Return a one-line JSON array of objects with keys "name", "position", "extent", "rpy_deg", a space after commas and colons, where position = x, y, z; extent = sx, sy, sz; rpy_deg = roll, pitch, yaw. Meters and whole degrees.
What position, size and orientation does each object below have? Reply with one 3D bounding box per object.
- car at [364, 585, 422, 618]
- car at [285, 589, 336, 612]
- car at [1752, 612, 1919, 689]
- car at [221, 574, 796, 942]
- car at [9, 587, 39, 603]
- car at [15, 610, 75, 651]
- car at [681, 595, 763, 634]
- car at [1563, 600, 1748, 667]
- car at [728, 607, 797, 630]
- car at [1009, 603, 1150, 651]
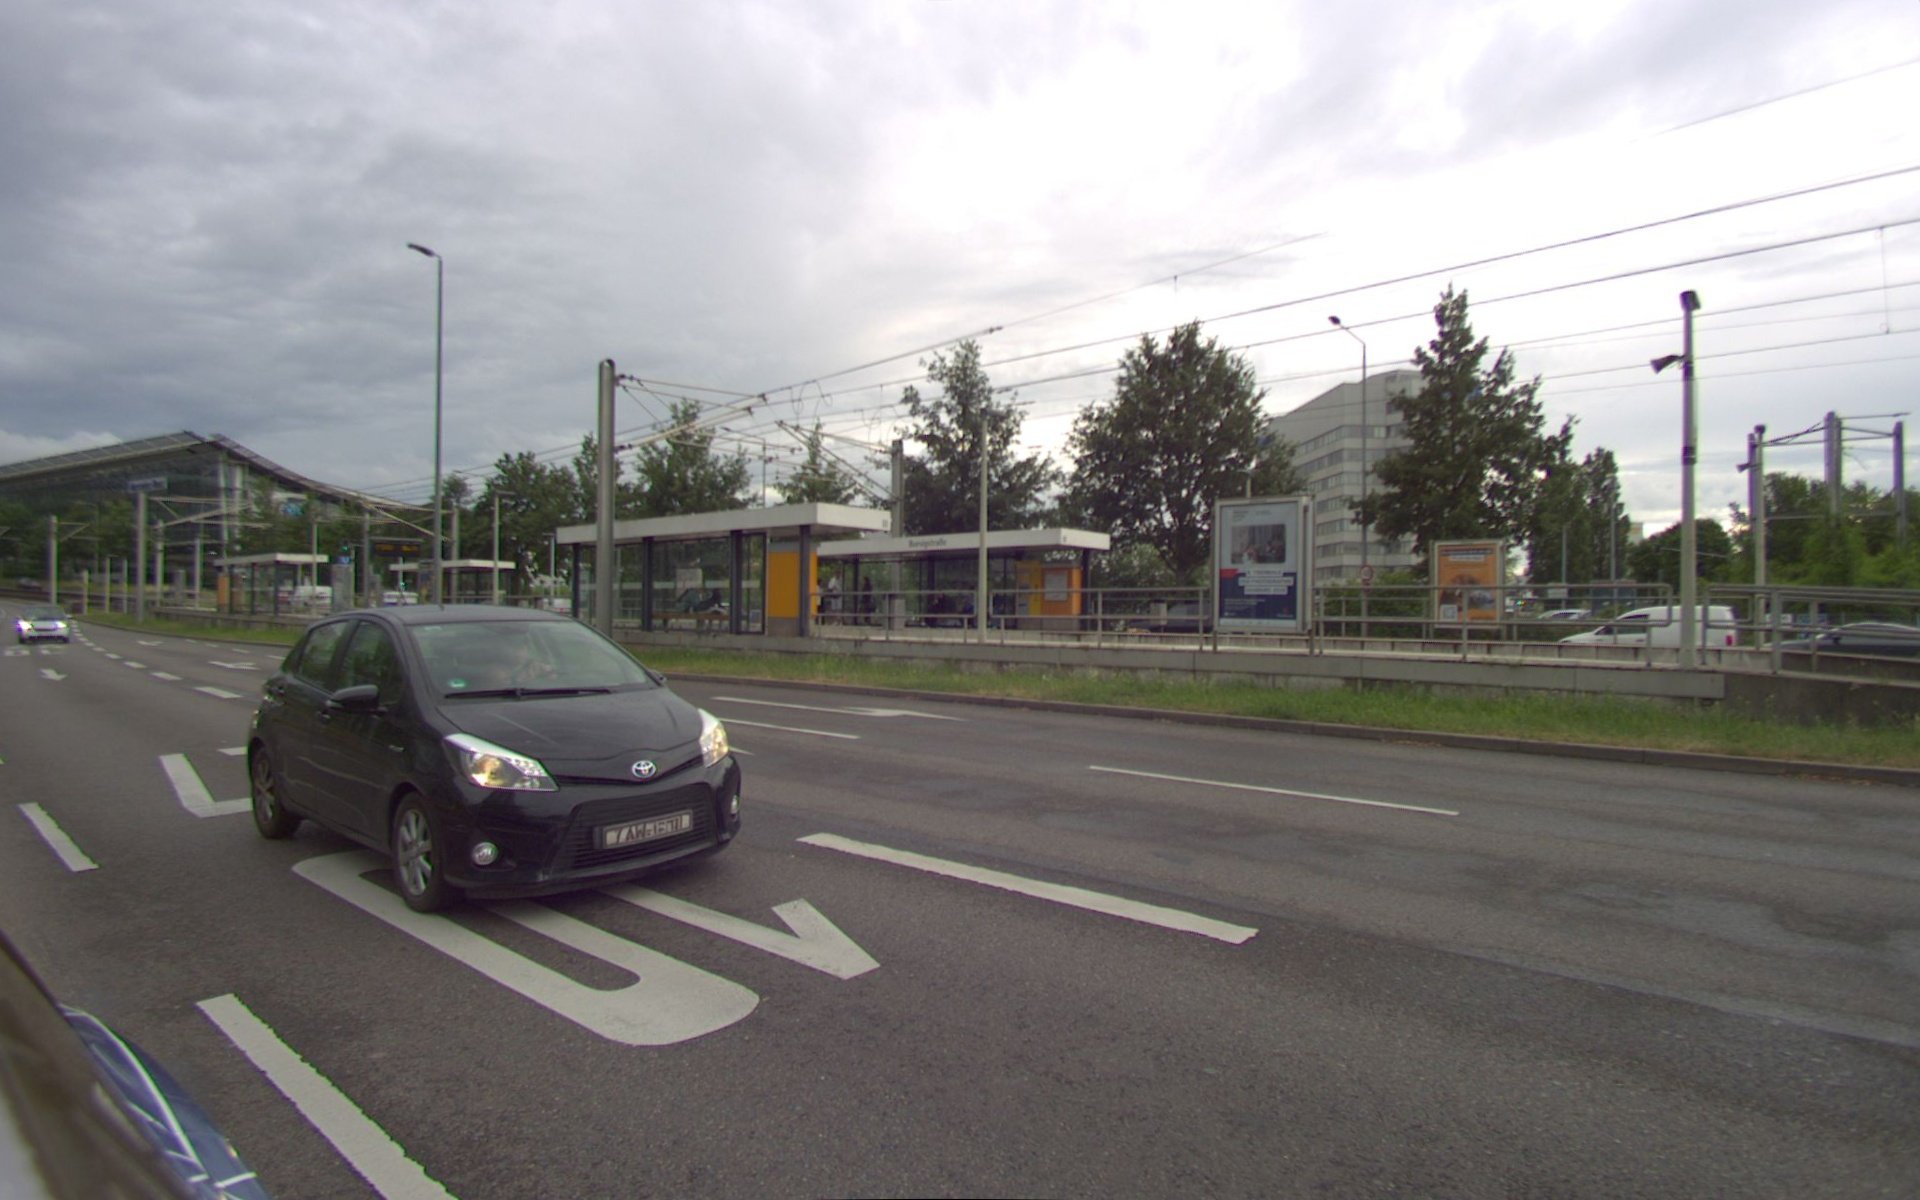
[{"name": "car", "position": [-40.112, 0.083, 71.559], "extent": [5.142, 2.231, 1.973], "rpy_deg": [1, 2, 42]}, {"name": "car", "position": [-52.131, -0.019, 81.199], "extent": [5.026, 1.744, 1.974], "rpy_deg": [1, 2, 40]}, {"name": "car", "position": [20.182, 1.089, 22.530], "extent": [3.996, 1.514, 1.769], "rpy_deg": [1, 2, 39]}, {"name": "car", "position": [-2.921, 0.700, 6.143], "extent": [3.902, 1.534, 1.675], "rpy_deg": [-2, -1, 41]}, {"name": "car", "position": [-111.905, -0.611, 120.966], "extent": [3.995, 1.861, 1.975], "rpy_deg": [1, 2, 38]}, {"name": "car", "position": [-36.889, 1.191, 40.836], "extent": [1.714, 1.489, 4.005], "rpy_deg": [-1, 1, -42]}, {"name": "car", "position": [-11.178, 0.640, 47.370], "extent": [4.267, 1.679, 1.512], "rpy_deg": [1, 2, 41]}, {"name": "car", "position": [19.049, 0.859, 27.803], "extent": [4.078, 1.639, 1.556], "rpy_deg": [0, 2, 39]}, {"name": "car", "position": [-10.717, 0.971, 54.814], "extent": [3.931, 1.139, 1.511], "rpy_deg": [1, 2, 39]}, {"name": "car", "position": [4.184, 0.910, 35.966], "extent": [4.931, 1.509, 1.660], "rpy_deg": [1, 2, 42]}]
